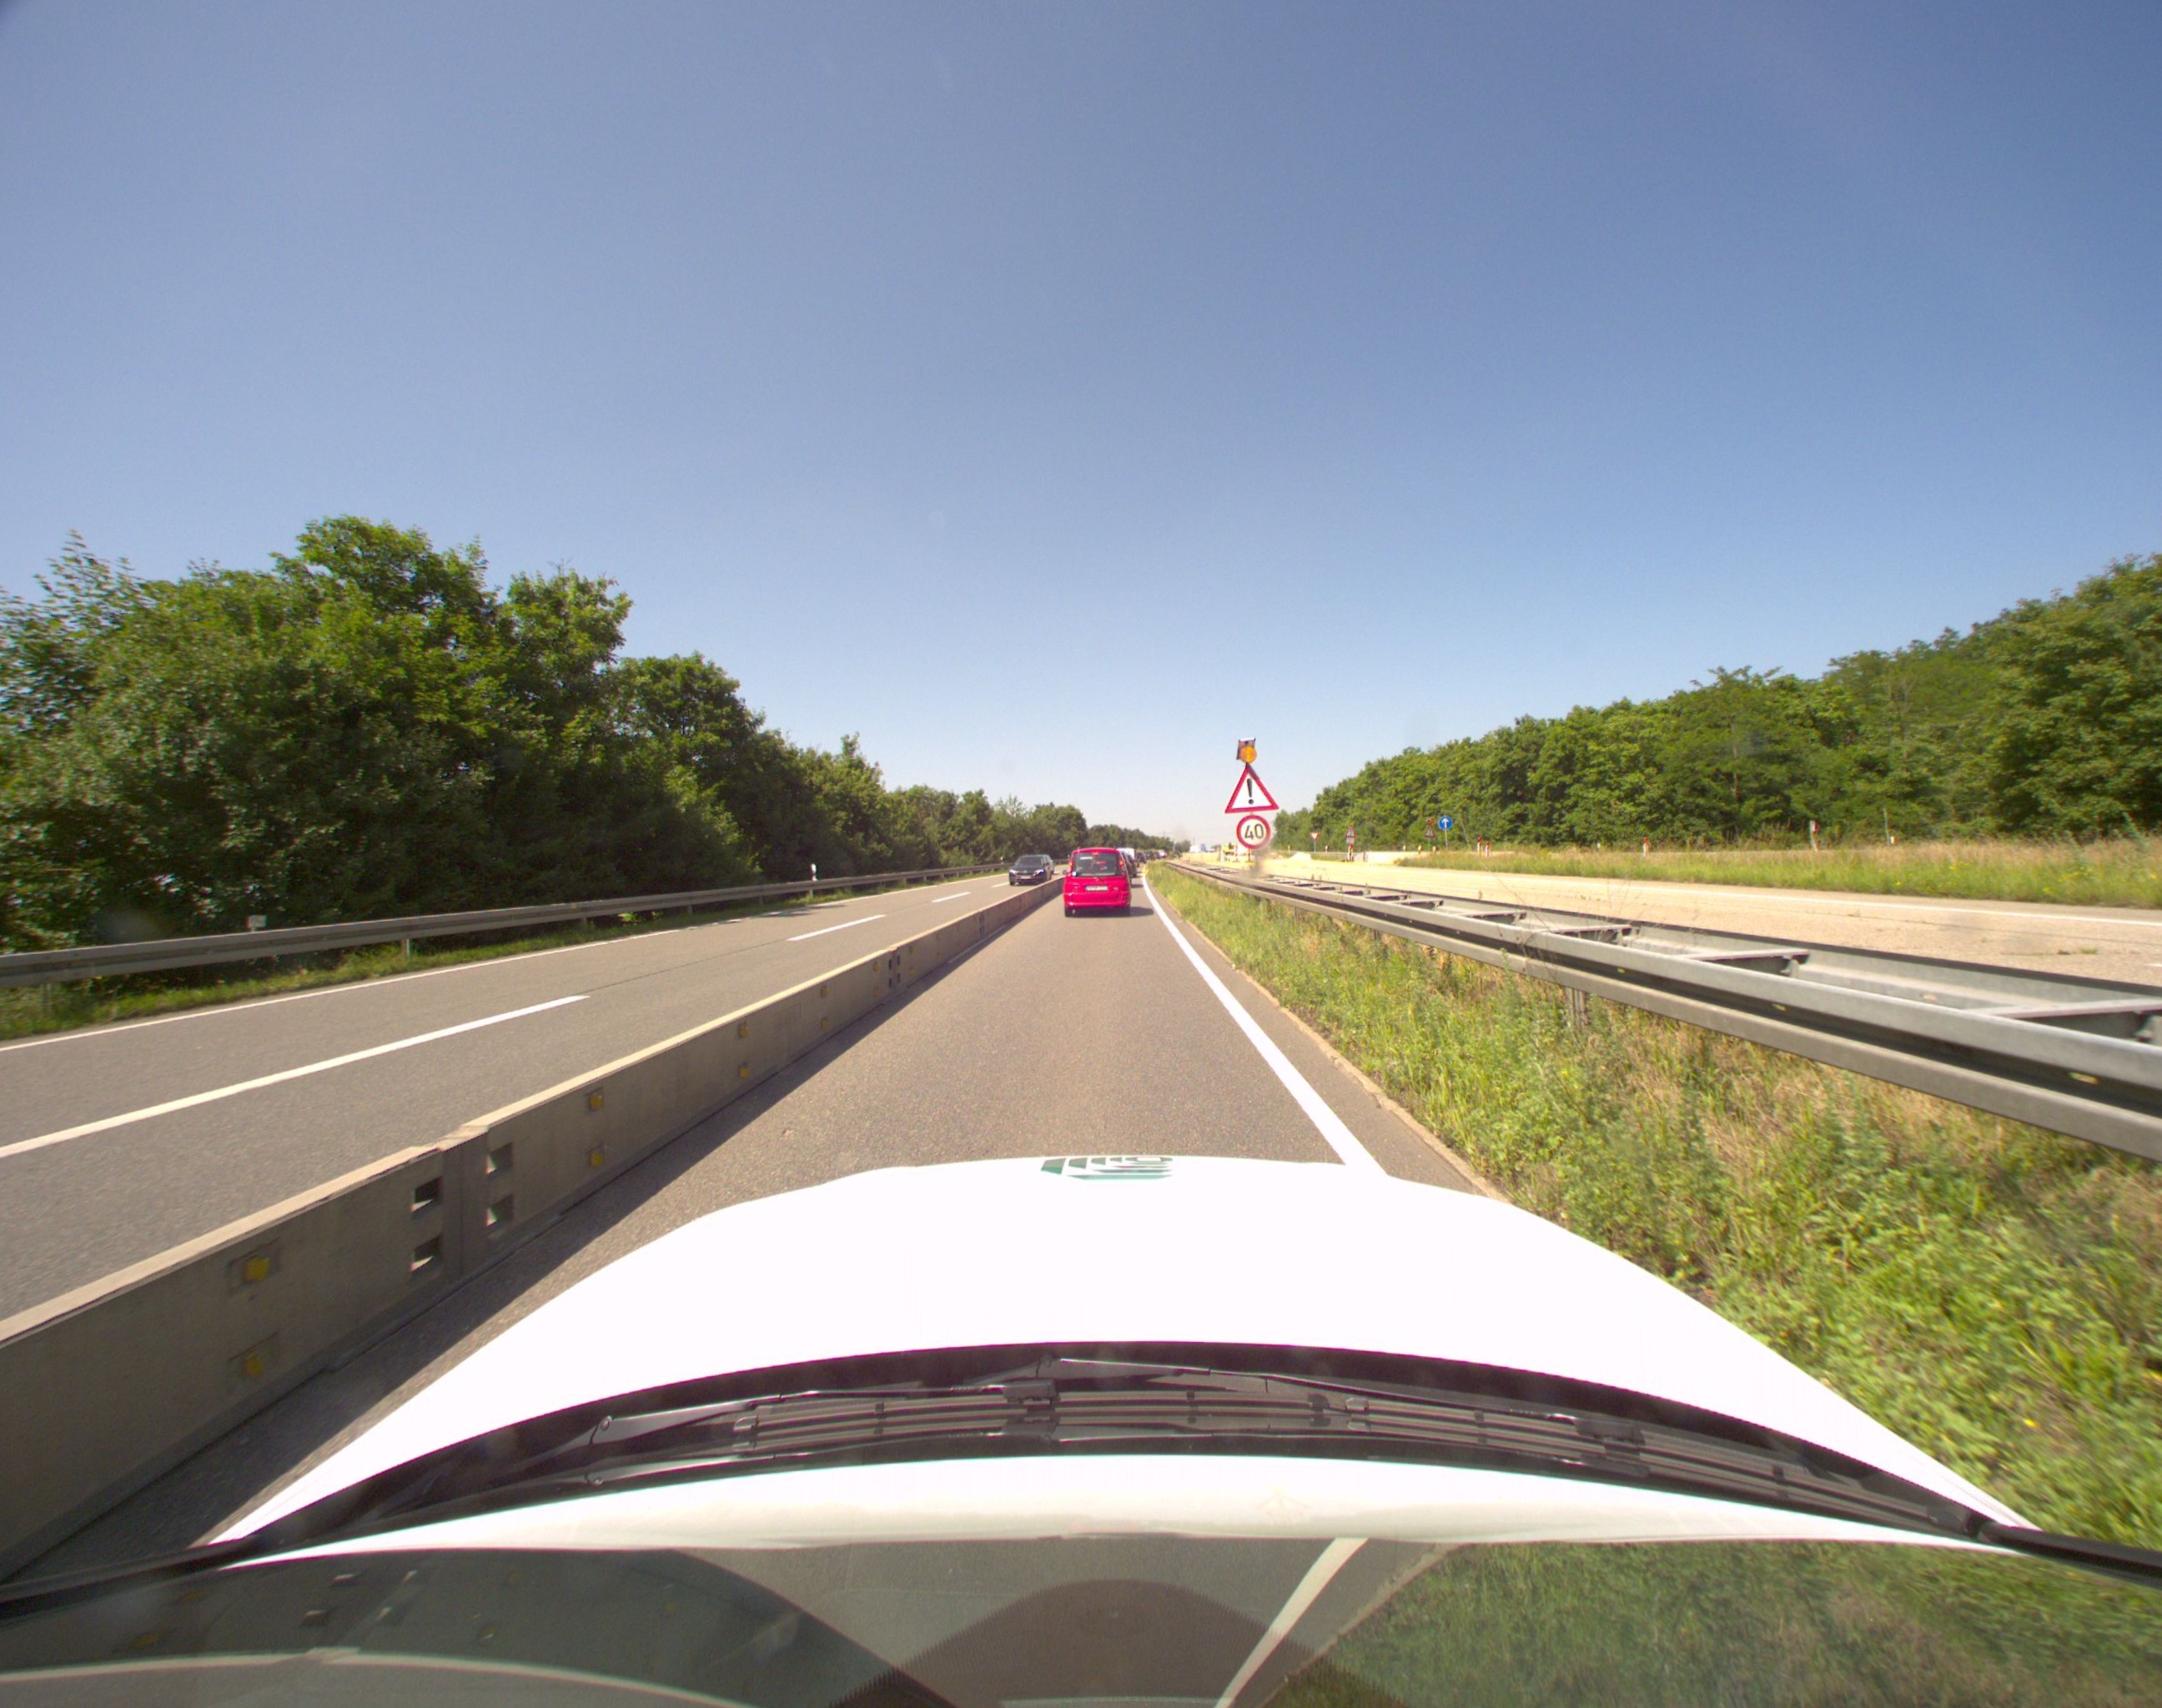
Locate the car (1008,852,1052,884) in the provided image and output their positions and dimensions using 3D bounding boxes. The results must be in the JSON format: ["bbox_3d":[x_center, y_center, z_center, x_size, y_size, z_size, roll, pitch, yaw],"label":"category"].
[{"bbox_3d":[-2.531,0.649,41.257,1.815,1.482,4.257,-2,0,1],"label":"car"}]

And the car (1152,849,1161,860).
[{"bbox_3d":[12.799,0.119,138.126,1.495,1.736,3.173,-2,0,4],"label":"car"}]

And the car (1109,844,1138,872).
[{"bbox_3d":[3.150,0.325,61.139,1.986,2.003,4.001,-1,0,1],"label":"car"}]

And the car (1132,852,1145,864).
[{"bbox_3d":[6.865,0.475,97.841,1.495,1.450,3.328,-1,0,4],"label":"car"}]

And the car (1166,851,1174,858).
[{"bbox_3d":[18.542,0.097,169.902,1.494,1.450,3.175,-2,0,6],"label":"car"}]

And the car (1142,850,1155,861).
[{"bbox_3d":[10.163,0.284,122.475,1.984,1.585,4.006,-1,0,5],"label":"car"}]

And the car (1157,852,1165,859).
[{"bbox_3d":[15.157,0.283,153.943,1.414,1.298,2.884,-2,0,6],"label":"car"}]

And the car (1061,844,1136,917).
[{"bbox_3d":[0.482,0.628,21.267,1.745,1.673,4.002,-1,0,2],"label":"car"}]

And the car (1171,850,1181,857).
[{"bbox_3d":[22.594,-0.173,193.452,1.985,1.552,4.004,-1,0,3],"label":"car"}]

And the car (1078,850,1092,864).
[{"bbox_3d":[0.601,0.414,109.898,1.749,1.765,4.286,-3,0,2],"label":"car"}]

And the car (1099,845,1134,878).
[{"bbox_3d":[2.226,0.447,49.644,1.985,1.838,4.004,-2,-1,4],"label":"car"}]

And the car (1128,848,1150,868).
[{"bbox_3d":[5.534,0.384,77.961,1.985,1.750,4.003,-2,0,3],"label":"car"}]

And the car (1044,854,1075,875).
[{"bbox_3d":[-1.543,0.717,59.834,1.941,1.421,4.356,-2,0,3],"label":"car"}]

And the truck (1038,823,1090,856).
[{"bbox_3d":[-3.007,-2.554,143.771,8.579,5.375,3.394,-3,0,5],"label":"truck"}]

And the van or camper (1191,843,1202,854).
[{"bbox_3d":[31.636,-1.492,222.494,2.319,2.707,4.595,-2,0,1],"label":"van or camper"}]

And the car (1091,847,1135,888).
[{"bbox_3d":[1.483,0.583,36.584,1.822,1.722,4.004,-1,0,4],"label":"car"}]
